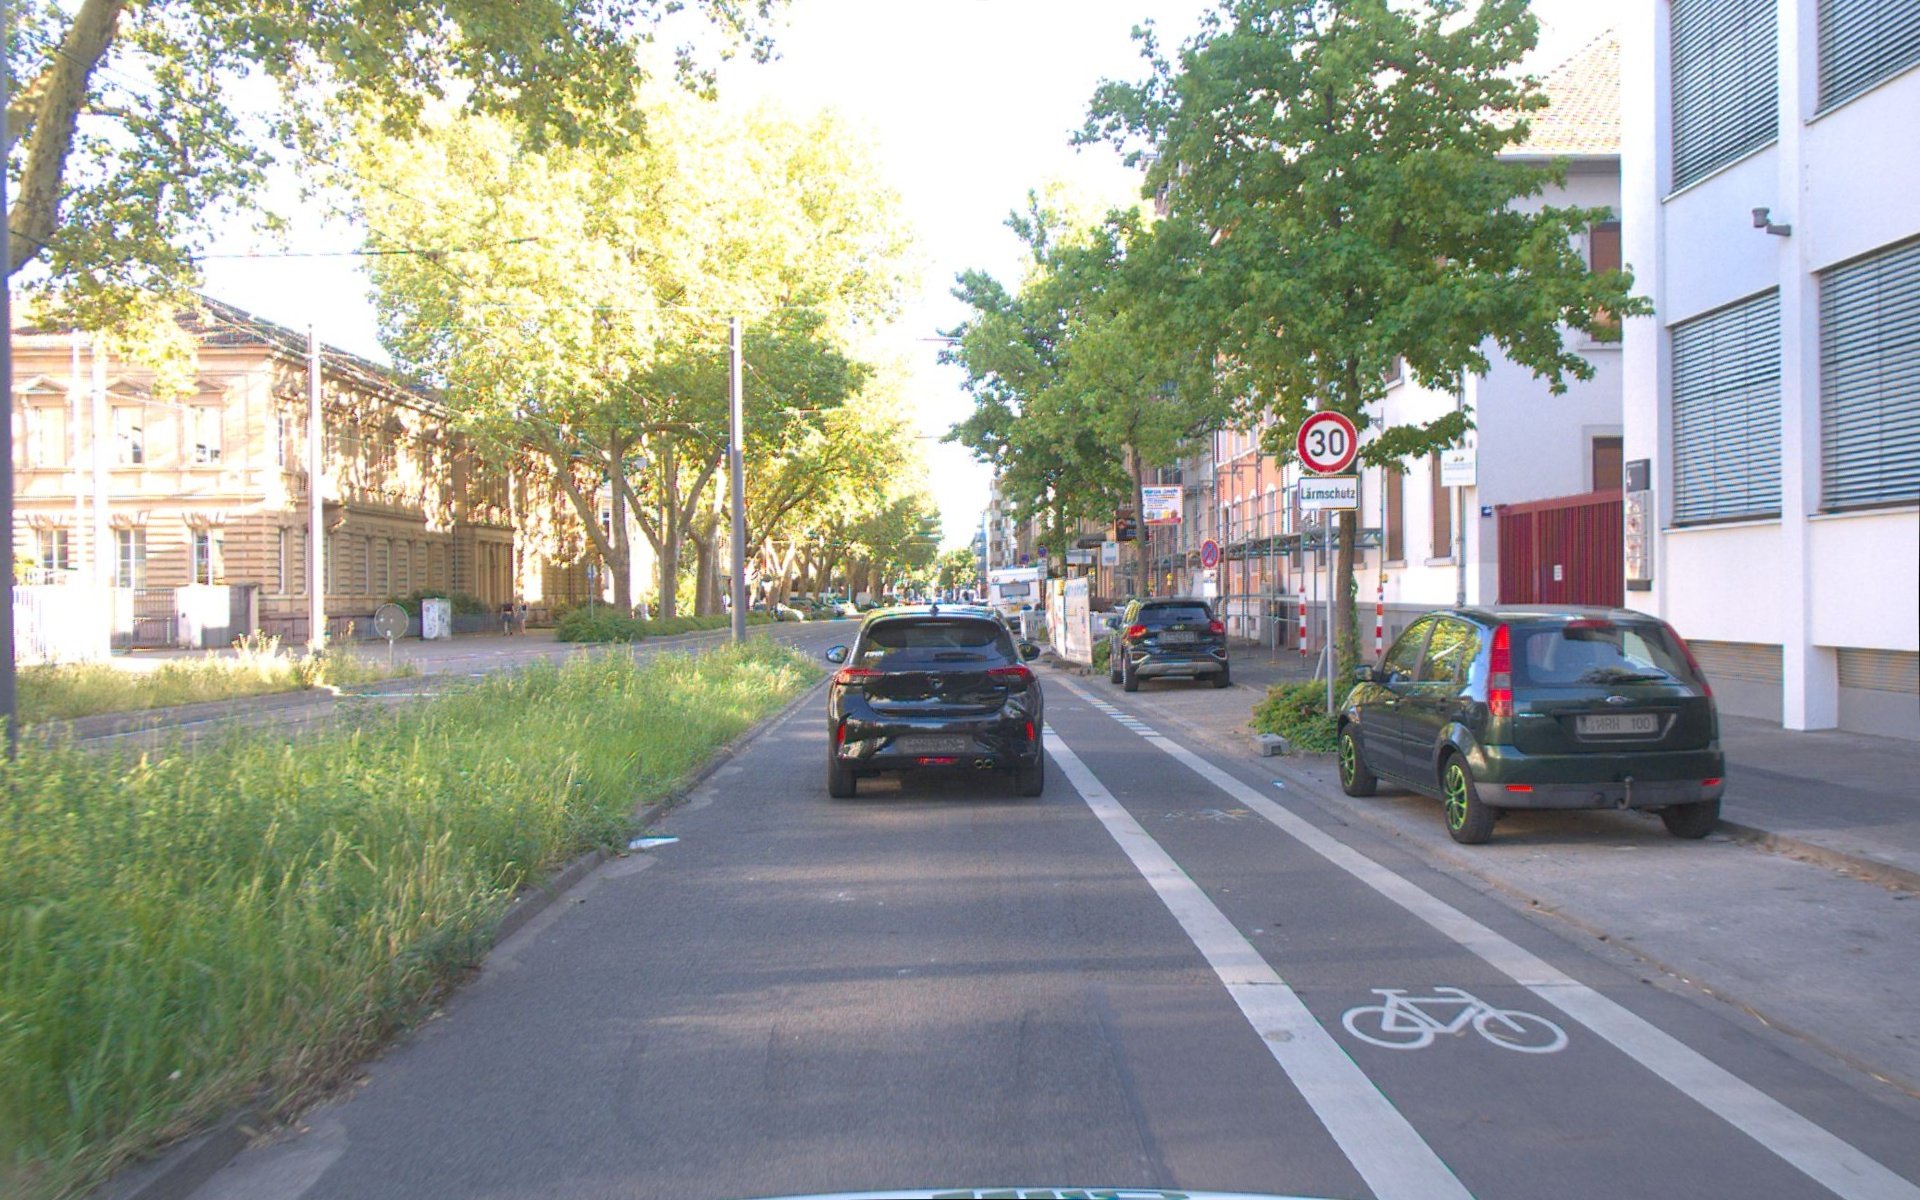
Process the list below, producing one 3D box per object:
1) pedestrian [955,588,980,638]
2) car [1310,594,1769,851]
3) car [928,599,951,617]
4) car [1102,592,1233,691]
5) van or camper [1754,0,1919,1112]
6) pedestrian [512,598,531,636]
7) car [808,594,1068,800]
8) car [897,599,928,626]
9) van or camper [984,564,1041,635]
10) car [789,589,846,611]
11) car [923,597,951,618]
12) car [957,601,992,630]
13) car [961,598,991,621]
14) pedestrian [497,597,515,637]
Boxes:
[{"bbox_3d":[0.313,0.518,68.543,1.015,2.059,1.212,0,0,-1],"label":"pedestrian"},{"bbox_3d":[3.804,0.703,11.649,1.652,1.445,4.046,-1,0,-2],"label":"car"},{"bbox_3d":[-1.738,0.647,140.237,1.866,1.450,4.216,-1,0,1],"label":"car"},{"bbox_3d":[3.519,0.664,28.664,1.753,1.536,3.874,-2,0,0],"label":"car"},{"bbox_3d":[3.884,-0.180,1.596,2.328,3.179,7.549,-3,0,-1],"label":"van or camper"},{"bbox_3d":[-19.735,0.763,74.419,0.645,1.650,0.615,1,0,-1],"label":"pedestrian"},{"bbox_3d":[-0.131,0.694,14.099,1.866,1.450,4.216,-1,0,1],"label":"car"},{"bbox_3d":[-2.942,0.779,103.077,1.753,1.536,3.874,-2,0,0],"label":"car"},{"bbox_3d":[2.326,-0.039,74.999,2.435,3.046,5.434,1,0,1],"label":"van or camper"},{"bbox_3d":[-14.681,0.018,170.699,5.571,2.236,2.289,-1,0,0],"label":"car"},{"bbox_3d":[-1.607,0.531,117.573,1.866,1.450,4.216,-1,0,1],"label":"car"},{"bbox_3d":[0.791,0.833,89.604,1.866,1.450,4.216,-1,0,1],"label":"car"},{"bbox_3d":[1.057,0.604,108.654,1.866,1.450,4.216,-1,0,1],"label":"car"},{"bbox_3d":[-20.381,0.770,74.326,0.605,1.764,0.596,1,0,-1],"label":"pedestrian"}]
